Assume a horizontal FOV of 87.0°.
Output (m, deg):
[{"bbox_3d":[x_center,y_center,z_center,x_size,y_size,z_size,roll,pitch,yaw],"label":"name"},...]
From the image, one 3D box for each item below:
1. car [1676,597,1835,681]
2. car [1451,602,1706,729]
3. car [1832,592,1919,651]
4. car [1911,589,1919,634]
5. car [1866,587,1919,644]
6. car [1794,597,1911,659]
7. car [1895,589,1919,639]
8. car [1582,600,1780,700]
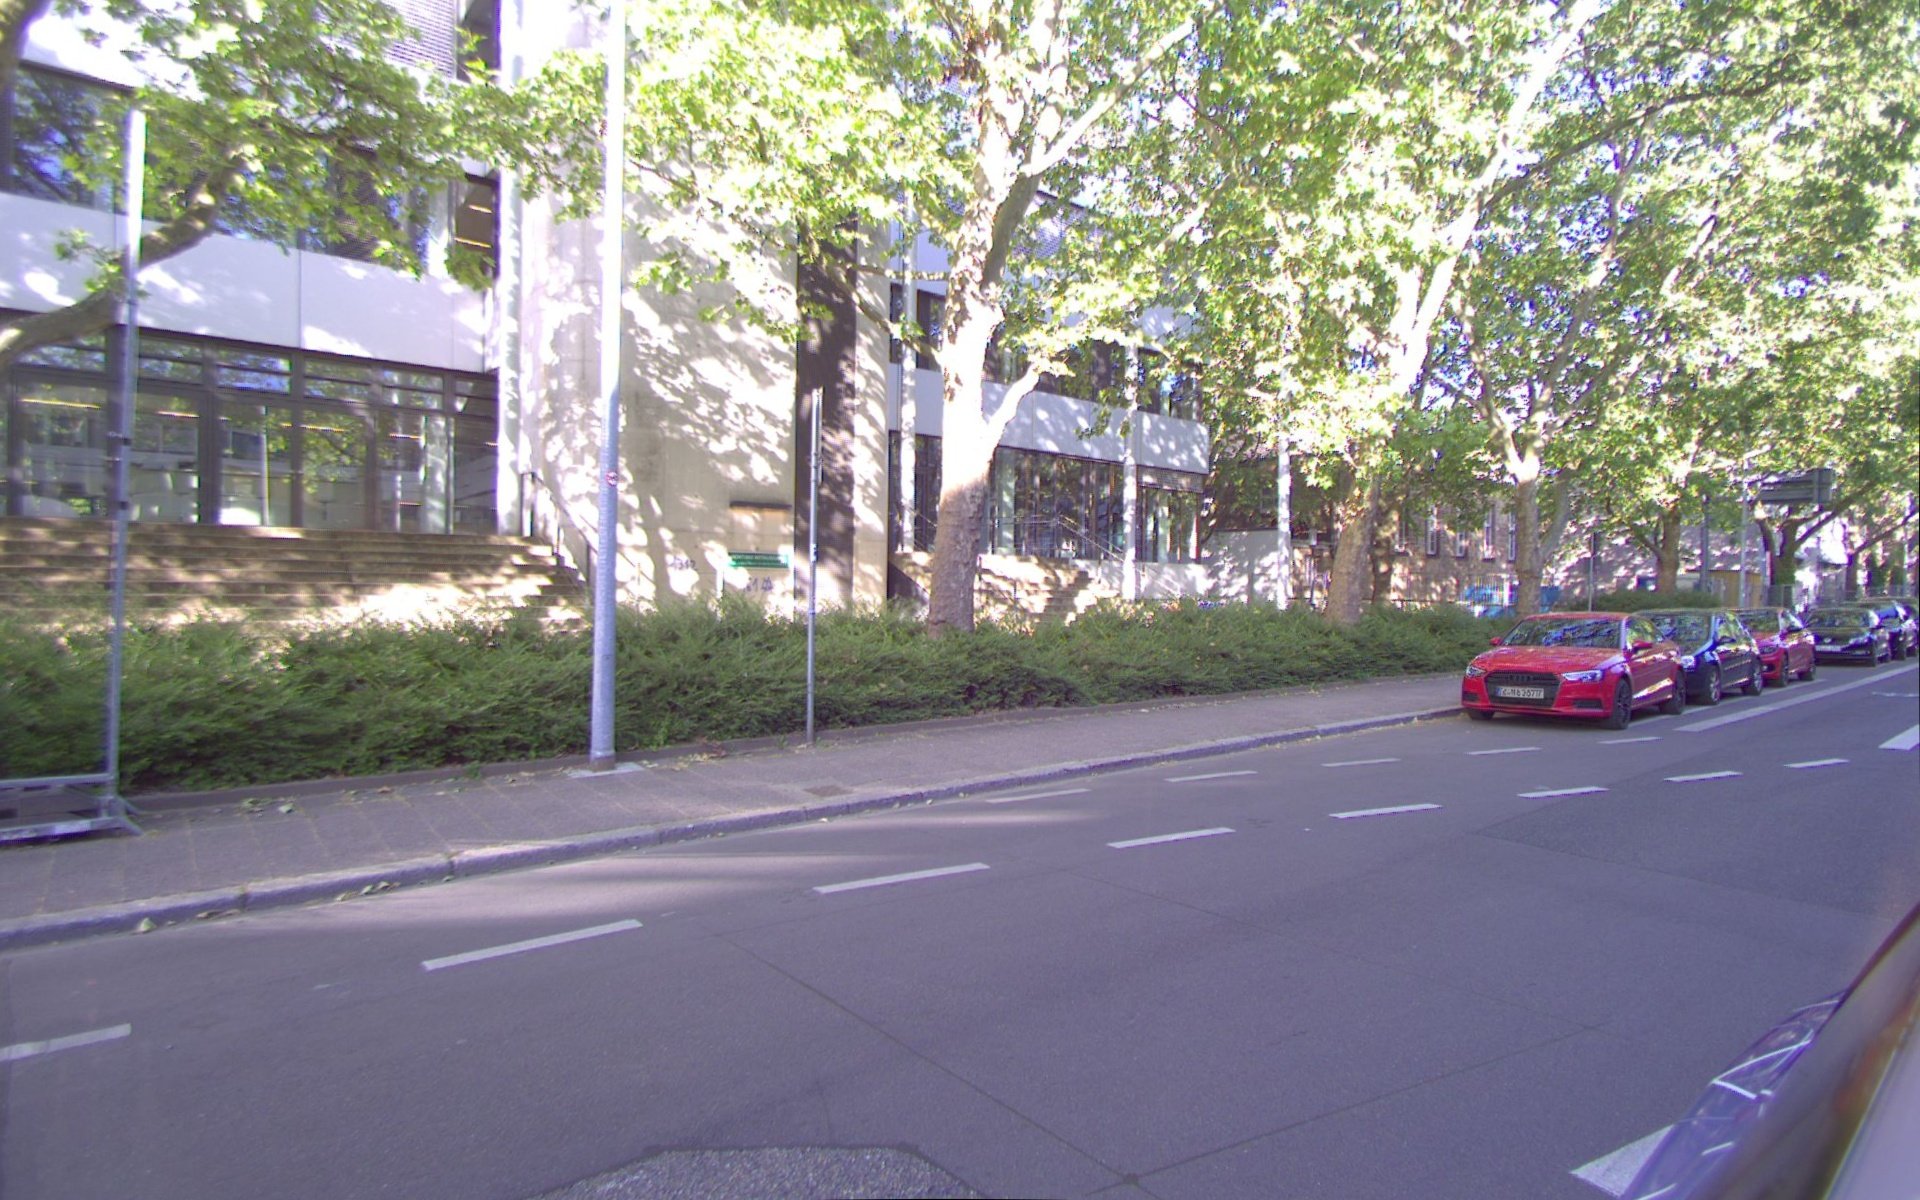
[{"bbox_3d":[15.863,0.696,20.105,4.092,1.502,1.815,0,-1,-42],"label":"car"},{"bbox_3d":[8.363,0.750,13.545,4.092,1.431,1.815,0,-1,-42],"label":"car"},{"bbox_3d":[26.600,0.582,29.130,4.092,1.573,1.788,0,-1,-42],"label":"car"},{"bbox_3d":[39.631,0.429,40.398,4.475,1.777,2.040,0,-1,-42],"label":"car"},{"bbox_3d":[31.061,0.481,33.012,4.271,1.777,1.788,0,-1,-42],"label":"car"},{"bbox_3d":[23.055,0.674,26.098,4.092,1.478,1.788,0,-1,-42],"label":"car"},{"bbox_3d":[35.914,0.475,37.248,4.475,1.777,1.788,0,-1,-42],"label":"car"},{"bbox_3d":[11.957,0.734,16.684,4.092,1.431,1.815,0,-1,-42],"label":"car"}]
